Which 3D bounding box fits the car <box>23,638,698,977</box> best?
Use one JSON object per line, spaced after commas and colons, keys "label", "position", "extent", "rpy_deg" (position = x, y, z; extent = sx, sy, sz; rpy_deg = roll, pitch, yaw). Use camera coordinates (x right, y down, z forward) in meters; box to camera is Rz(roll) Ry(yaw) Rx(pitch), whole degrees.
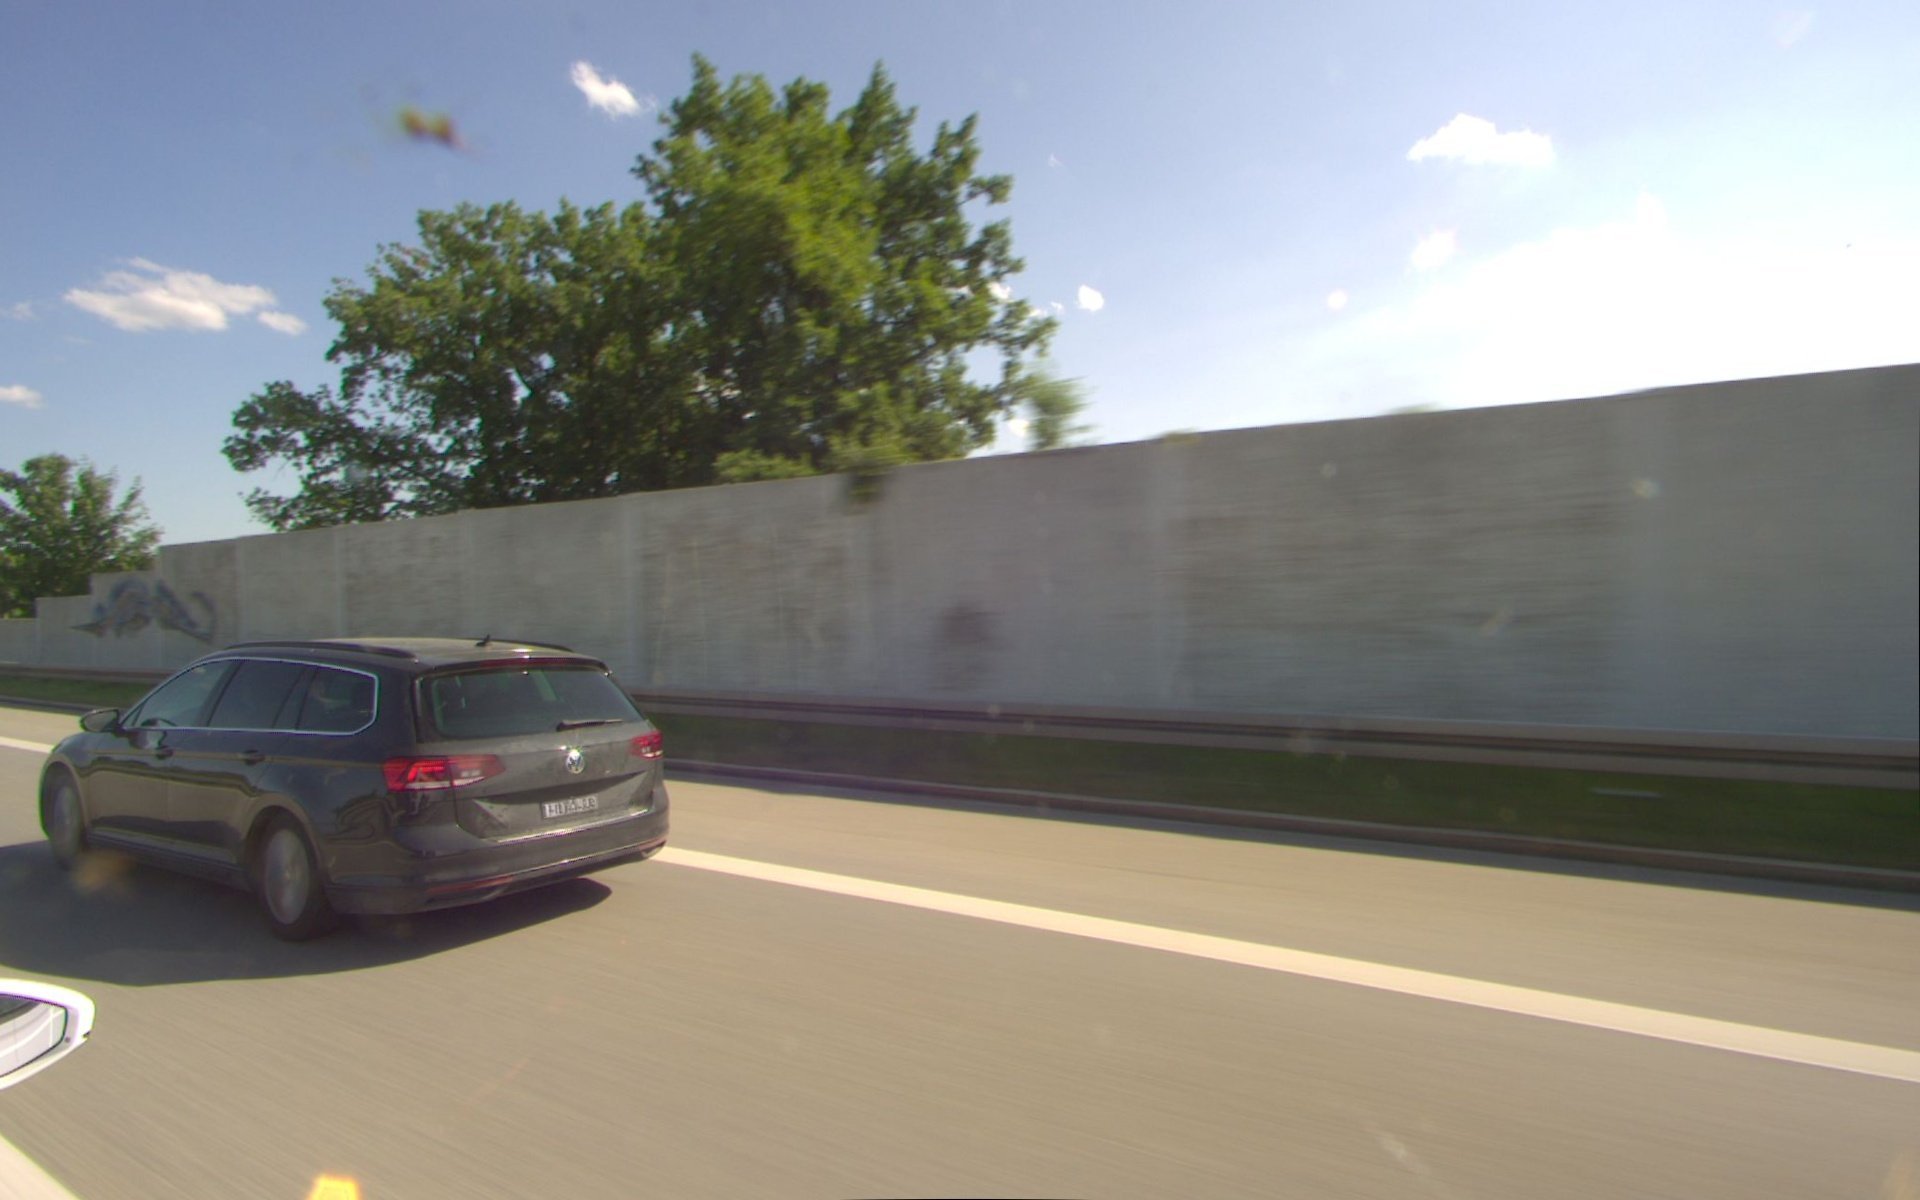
{"label": "car", "position": [-3.781, 0.947, 6.097], "extent": [4.349, 1.417, 1.716], "rpy_deg": [-1, -2, 31]}
